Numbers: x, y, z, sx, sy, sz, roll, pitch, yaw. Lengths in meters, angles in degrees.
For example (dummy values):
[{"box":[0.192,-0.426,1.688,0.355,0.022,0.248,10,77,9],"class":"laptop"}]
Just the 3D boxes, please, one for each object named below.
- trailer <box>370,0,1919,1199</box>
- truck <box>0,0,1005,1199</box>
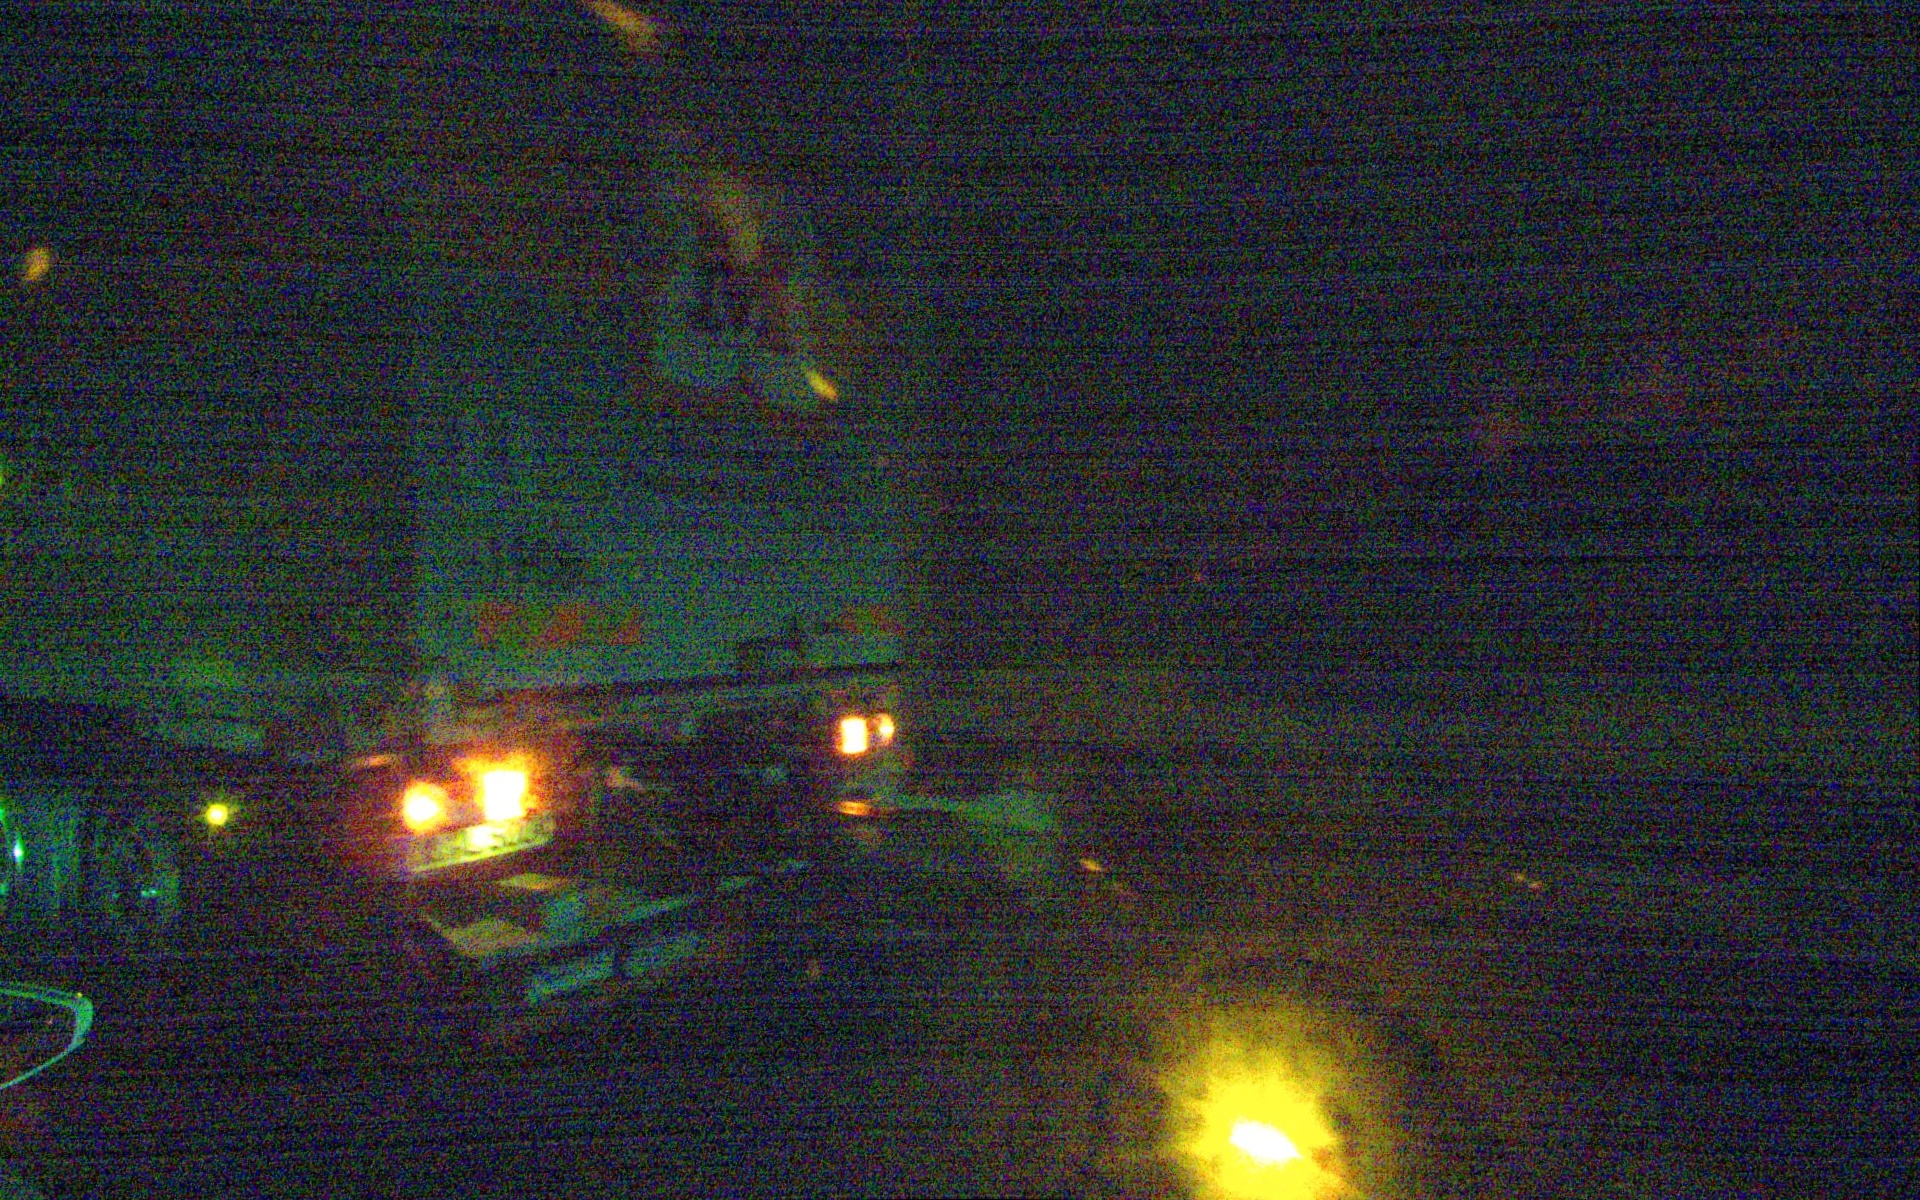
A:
[{"box":[3.123,-0.623,1.092,8.822,3.910,2.868,-1,1,33],"class":"trailer"},{"box":[-4.684,-0.402,6.144,9.767,3.966,2.882,-1,1,32],"class":"truck"}]
